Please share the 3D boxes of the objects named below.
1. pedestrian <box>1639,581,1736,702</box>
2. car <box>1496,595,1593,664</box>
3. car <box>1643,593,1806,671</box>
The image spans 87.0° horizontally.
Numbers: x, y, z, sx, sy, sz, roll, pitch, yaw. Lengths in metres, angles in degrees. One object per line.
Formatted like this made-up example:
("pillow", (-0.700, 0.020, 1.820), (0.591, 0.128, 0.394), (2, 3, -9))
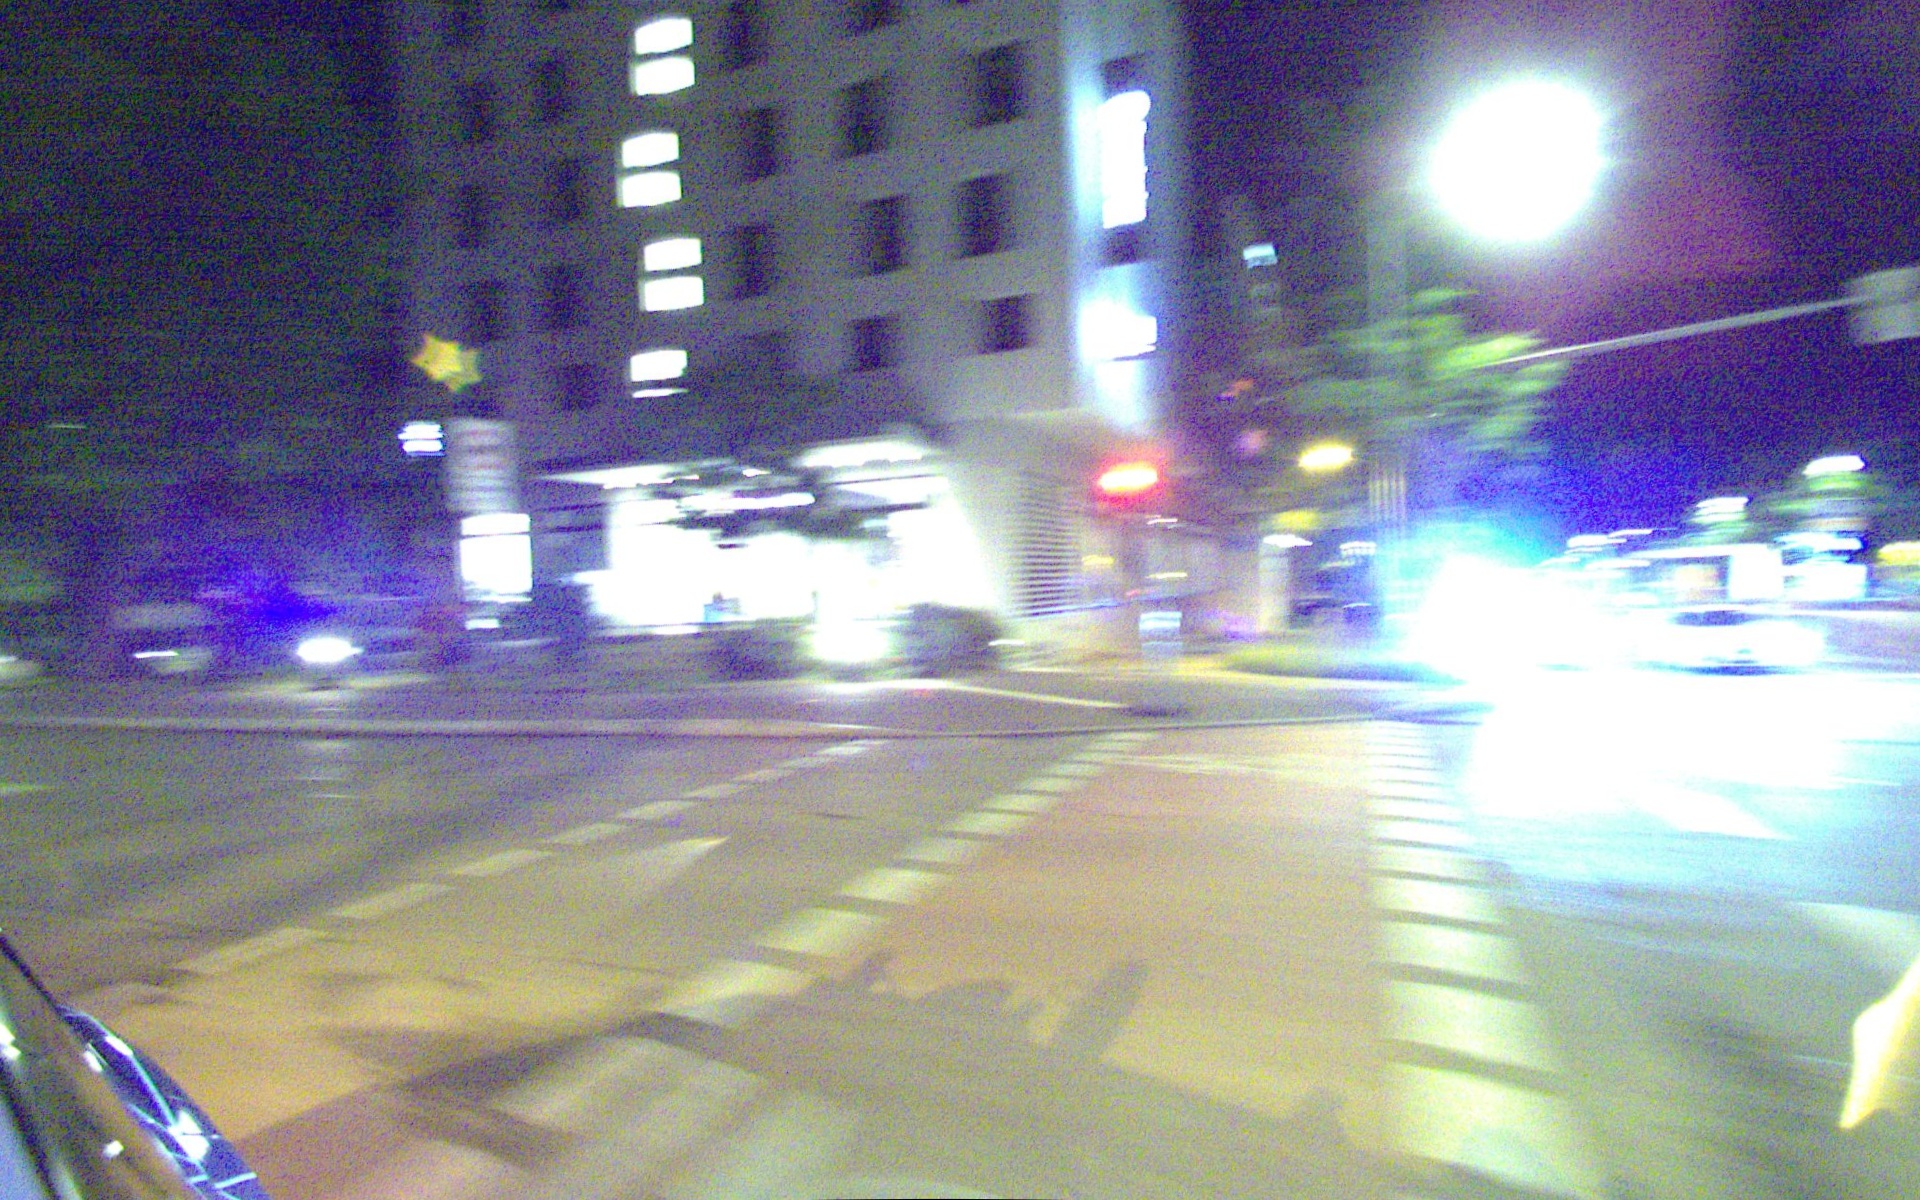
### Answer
("pedestrian", (10.176, 0.572, 14.183), (0.854, 1.646, 0.668), (-1, -1, 13))
("car", (14.457, 0.726, 25.210), (1.899, 1.583, 3.961), (-2, -2, 28))
("car", (16.368, 0.666, 21.909), (1.807, 1.514, 4.167), (-2, -1, 23))
